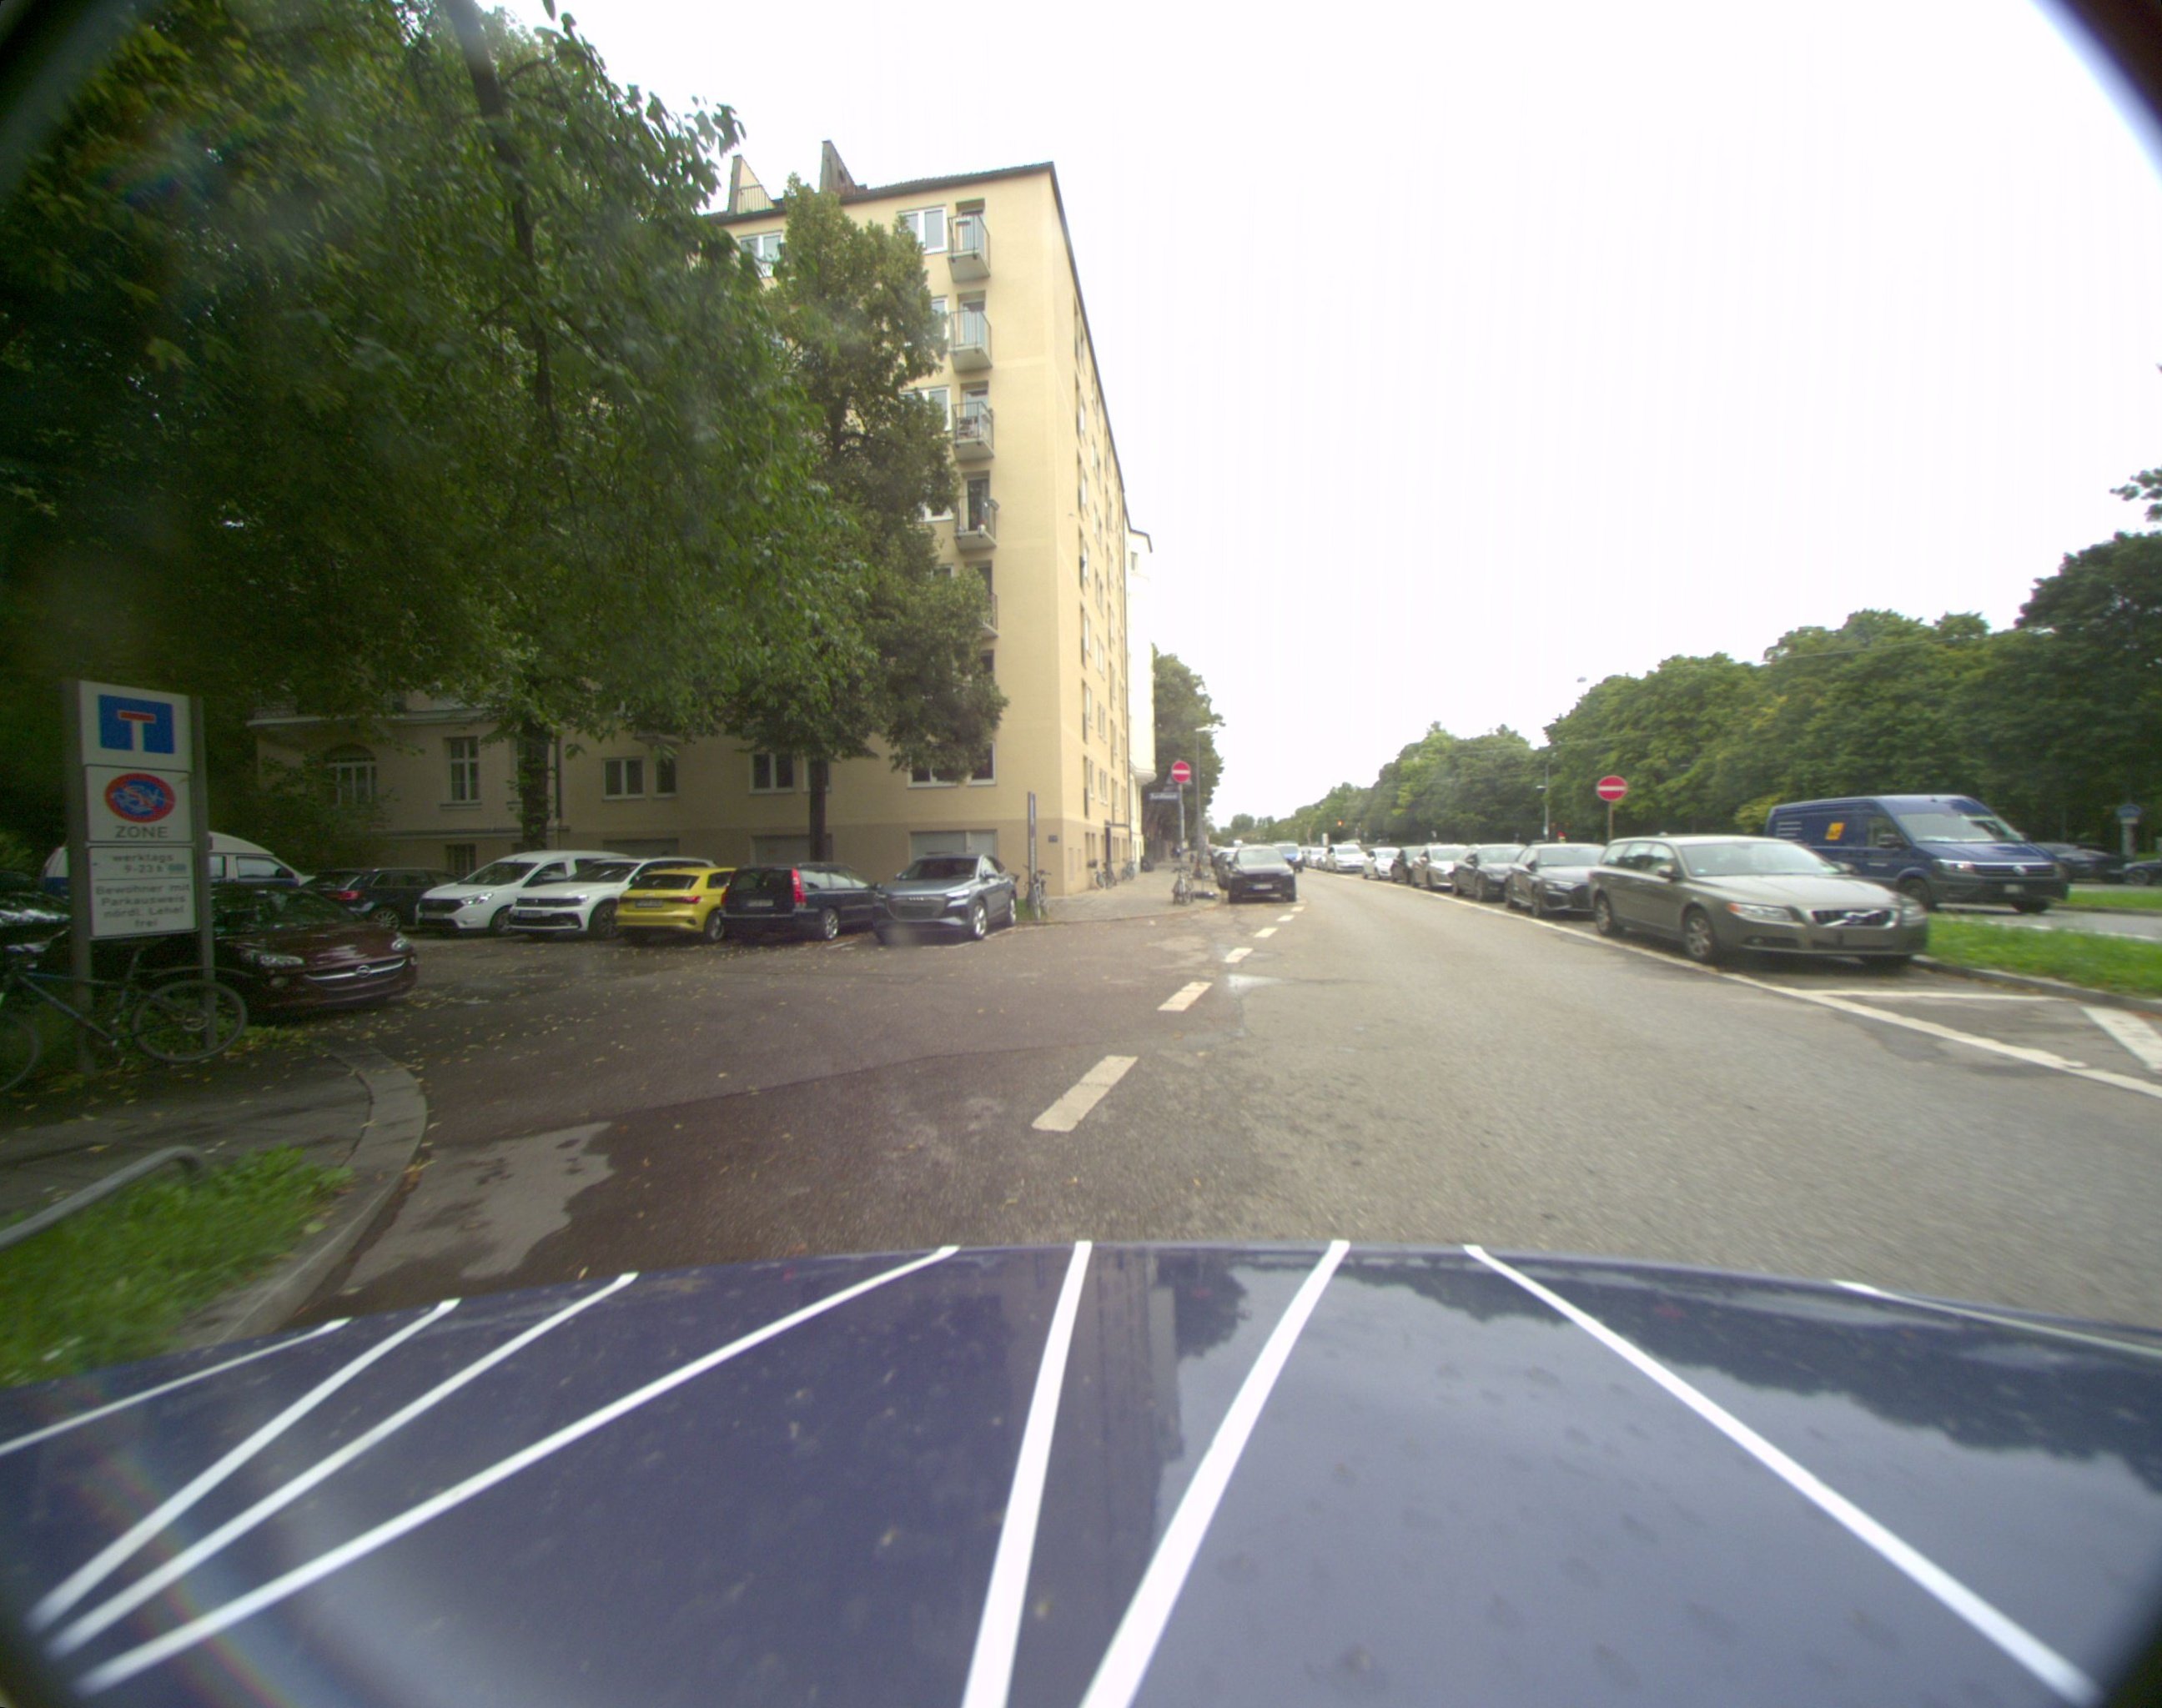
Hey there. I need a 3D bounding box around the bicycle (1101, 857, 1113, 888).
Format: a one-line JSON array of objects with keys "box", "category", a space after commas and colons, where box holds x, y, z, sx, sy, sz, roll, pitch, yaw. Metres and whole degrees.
[{"box": [1.027, 0.699, 29.758, 0.400, 1.164, 1.319, -1, 0, 0], "category": "bicycle"}]

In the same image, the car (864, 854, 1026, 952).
[{"box": [-2.430, 0.823, 14.735, 1.824, 1.556, 4.247, -1, 0, 8], "category": "car"}]

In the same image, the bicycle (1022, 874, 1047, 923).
[{"box": [-1.070, 1.019, 17.660, 0.282, 1.055, 1.239, -1, 0, 9], "category": "bicycle"}]

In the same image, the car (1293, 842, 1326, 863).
[{"box": [18.544, -0.132, 61.800, 1.949, 1.675, 4.002, -1, 0, 7], "category": "car"}]

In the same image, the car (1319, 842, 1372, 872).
[{"box": [16.134, 0.182, 46.548, 2.073, 1.692, 5.093, -1, 0, 8], "category": "car"}]

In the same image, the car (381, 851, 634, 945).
[{"box": [-12.267, 0.846, 16.683, 1.915, 1.741, 4.248, -1, 0, 9], "category": "car"}]

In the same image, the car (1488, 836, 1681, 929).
[{"box": [9.656, 0.468, 15.011, 1.990, 1.556, 4.287, -1, 0, 16], "category": "car"}]

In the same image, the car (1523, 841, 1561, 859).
[{"box": [45.759, -0.413, 75.516, 1.883, 1.736, 4.003, -2, 0, 11], "category": "car"}]

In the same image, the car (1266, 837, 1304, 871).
[{"box": [13.794, -0.053, 51.541, 1.855, 2.198, 4.555, -2, 1, 8], "category": "car"}]

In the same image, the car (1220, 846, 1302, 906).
[{"box": [5.417, 0.598, 23.164, 2.127, 1.556, 4.511, -2, 0, 12], "category": "car"}]

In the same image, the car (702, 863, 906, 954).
[{"box": [-5.288, 0.973, 15.227, 2.052, 1.458, 4.247, -1, 0, 8], "category": "car"}]

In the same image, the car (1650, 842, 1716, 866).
[{"box": [42.319, -0.034, 53.521, 1.910, 1.549, 4.002, -2, 1, 10], "category": "car"}]

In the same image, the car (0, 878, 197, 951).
[{"box": [-25.660, 1.494, 19.186, 4.117, 1.594, 1.898, -2, 1, -43], "category": "car"}]

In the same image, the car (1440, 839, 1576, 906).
[{"box": [11.137, 0.429, 20.180, 1.990, 1.556, 4.286, -1, 0, 13], "category": "car"}]

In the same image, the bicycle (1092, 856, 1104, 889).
[{"box": [0.617, 0.679, 27.925, 0.363, 1.164, 1.319, -1, 0, 0], "category": "bicycle"}]

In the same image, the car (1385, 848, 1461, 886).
[{"box": [13.547, 0.482, 30.347, 1.765, 1.362, 4.286, -1, 0, 10], "category": "car"}]

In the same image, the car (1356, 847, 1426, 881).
[{"box": [14.336, 0.406, 35.342, 1.991, 1.447, 4.285, -1, 0, 8], "category": "car"}]

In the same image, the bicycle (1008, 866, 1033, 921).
[{"box": [-1.418, 0.921, 17.966, 0.282, 1.224, 1.239, -1, 1, 9], "category": "bicycle"}]

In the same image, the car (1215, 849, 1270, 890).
[{"box": [6.954, 0.629, 33.093, 2.128, 1.556, 4.510, -3, 0, 10], "category": "car"}]

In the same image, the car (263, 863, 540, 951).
[{"box": [-14.608, 1.050, 16.736, 1.915, 1.590, 4.248, -1, 0, 9], "category": "car"}]

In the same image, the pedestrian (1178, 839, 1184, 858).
[{"box": [10.586, -0.540, 80.834, 0.458, 2.002, 0.618, -1, 0, -7], "category": "pedestrian"}]

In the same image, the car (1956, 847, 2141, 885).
[{"box": [38.659, 0.435, 30.596, 1.997, 1.438, 4.528, 0, 0, 7], "category": "car"}]

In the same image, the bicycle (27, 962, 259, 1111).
[{"box": [-7.134, 1.346, 5.837, 0.249, 0.875, 1.081, -1, 1, 19], "category": "bicycle"}]

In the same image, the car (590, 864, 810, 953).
[{"box": [-7.520, 1.007, 15.568, 1.915, 1.458, 4.247, -1, 0, 8], "category": "car"}]

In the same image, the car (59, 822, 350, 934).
[{"box": [-20.354, 0.474, 17.850, 1.899, 2.300, 4.189, -1, 1, 33], "category": "car"}]

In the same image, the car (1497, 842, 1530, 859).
[{"box": [46.920, -0.405, 82.500, 1.864, 1.736, 4.003, -2, 0, 11], "category": "car"}]

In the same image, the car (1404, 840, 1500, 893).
[{"box": [12.009, 0.371, 24.888, 1.990, 1.556, 4.287, -1, 0, 14], "category": "car"}]

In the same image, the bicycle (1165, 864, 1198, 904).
[{"box": [2.869, 0.834, 21.593, 0.632, 1.032, 1.737, -1, 0, 17], "category": "bicycle"}]

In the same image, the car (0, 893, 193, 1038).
[{"box": [-13.682, 1.302, 9.296, 4.040, 1.488, 1.734, -1, 1, 9], "category": "car"}]

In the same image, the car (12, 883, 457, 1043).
[{"box": [-9.495, 1.137, 8.642, 3.702, 1.488, 1.735, -1, 1, 12], "category": "car"}]

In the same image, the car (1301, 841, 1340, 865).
[{"box": [17.980, -0.068, 57.212, 2.073, 1.692, 4.562, -1, 0, 8], "category": "car"}]

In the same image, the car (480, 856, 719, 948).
[{"box": [-9.849, 0.887, 16.034, 1.915, 1.610, 4.247, -1, 0, 8], "category": "car"}]

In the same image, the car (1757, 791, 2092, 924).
[{"box": [18.303, 0.009, 17.099, 2.187, 2.450, 5.857, -1, 1, 15], "category": "car"}]

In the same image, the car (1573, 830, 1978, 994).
[{"box": [8.196, 0.542, 9.710, 1.901, 1.556, 4.776, -1, 0, 16], "category": "car"}]

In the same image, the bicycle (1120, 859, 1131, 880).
[{"box": [2.157, 0.736, 36.798, 0.462, 0.998, 1.319, -1, 0, 3], "category": "bicycle"}]

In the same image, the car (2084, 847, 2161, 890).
[{"box": [37.805, 0.499, 25.723, 1.997, 1.438, 4.528, 0, 0, 7], "category": "car"}]
